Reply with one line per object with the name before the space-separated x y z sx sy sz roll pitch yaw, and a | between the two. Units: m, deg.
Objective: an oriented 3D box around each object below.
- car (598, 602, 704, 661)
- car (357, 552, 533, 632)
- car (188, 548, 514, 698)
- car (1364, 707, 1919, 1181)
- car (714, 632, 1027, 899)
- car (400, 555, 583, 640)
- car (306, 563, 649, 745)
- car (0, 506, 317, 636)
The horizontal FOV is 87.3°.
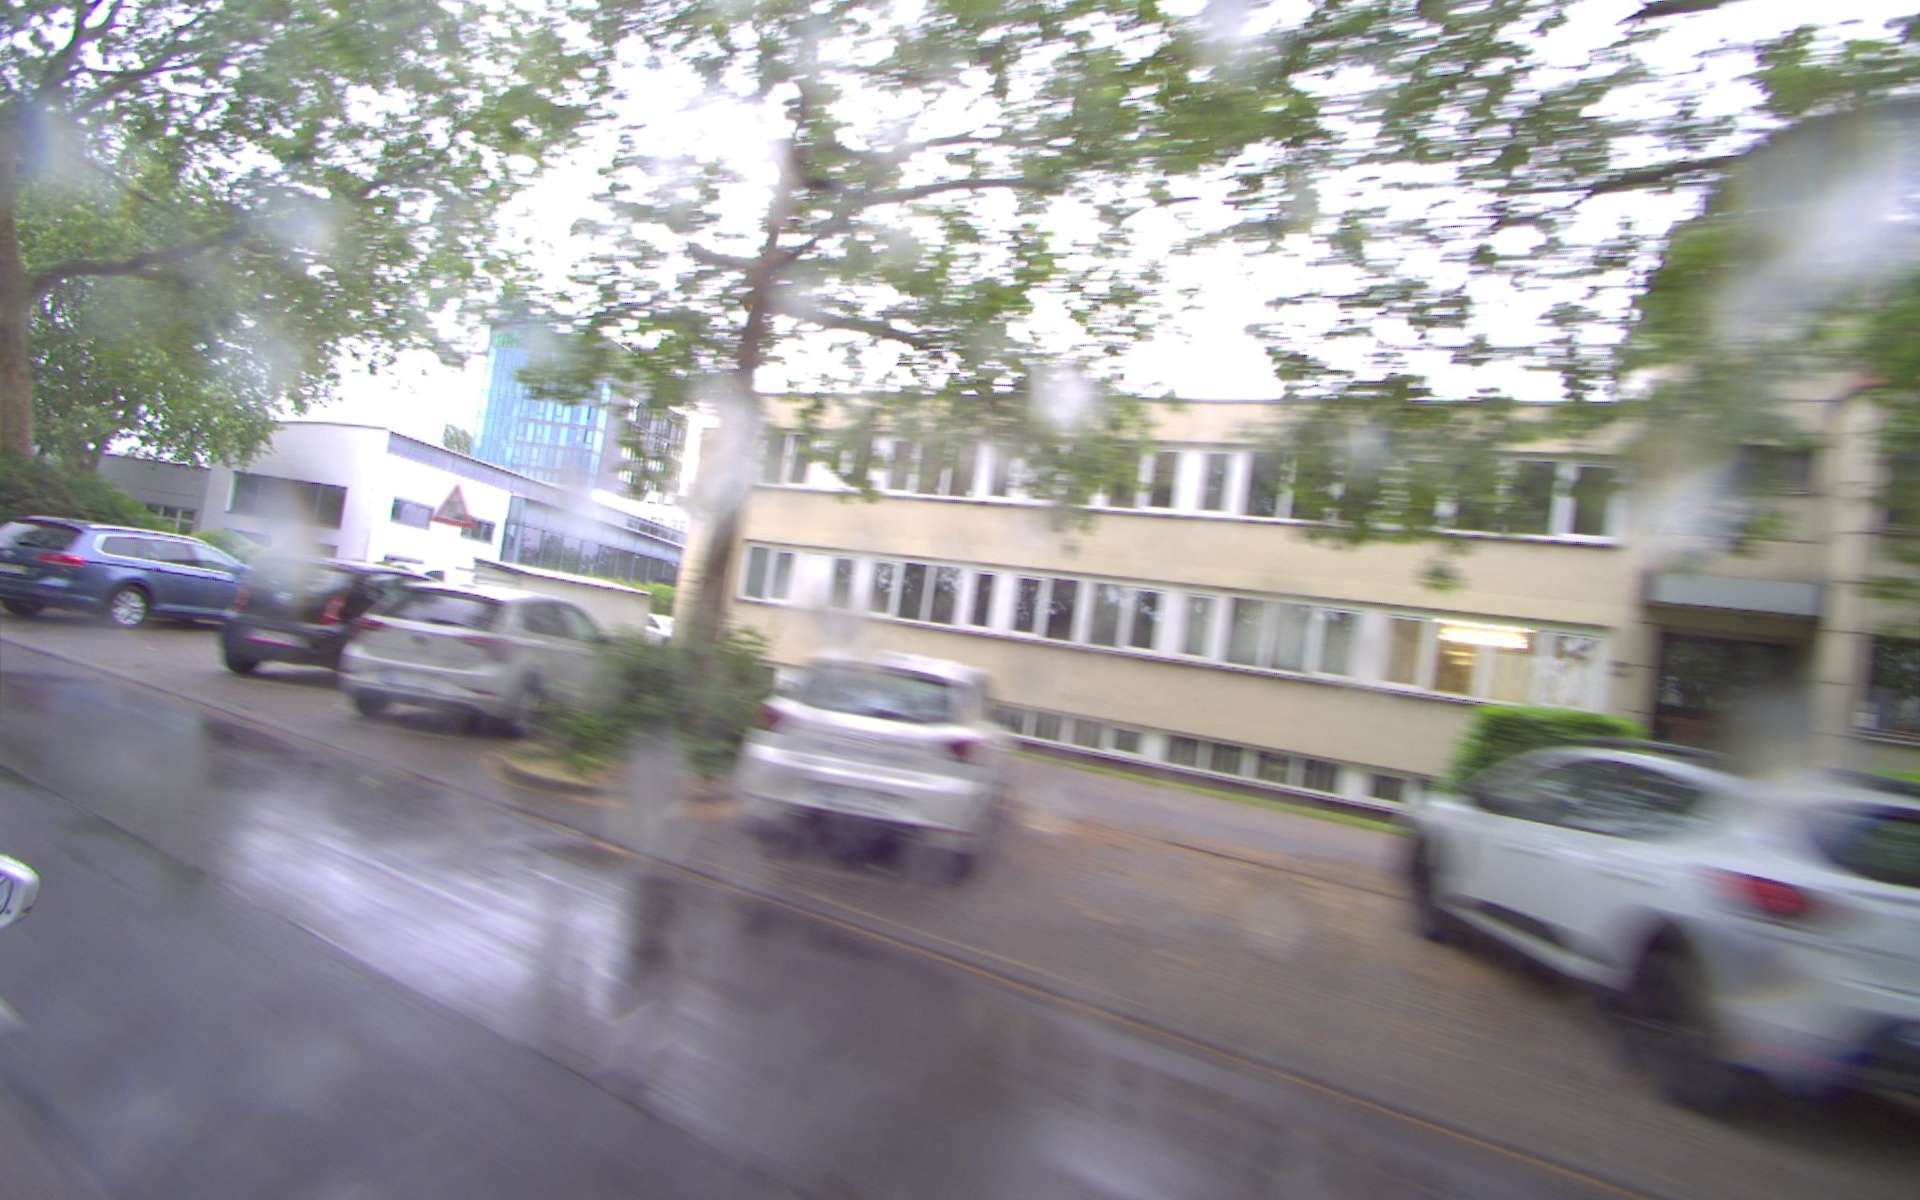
car | -12.348 1.240 40.159 3.698 1.776 1.749 7 -3 28
car | -15.768 -0.178 31.065 1.749 1.776 4.555 7 -3 25
car | -7.620 0.361 13.075 1.716 1.432 3.697 8 -3 2
car | 4.129 1.639 5.945 1.717 1.556 4.043 8 -3 1
car | -0.456 1.162 8.224 1.716 1.432 3.699 8 -3 6
car | -13.452 -0.016 29.194 1.718 1.776 4.553 7 -3 28
car | -5.035 0.603 11.144 1.743 1.432 3.697 8 -3 2
car | -12.624 -0.360 15.750 1.716 1.474 4.503 8 -3 6
